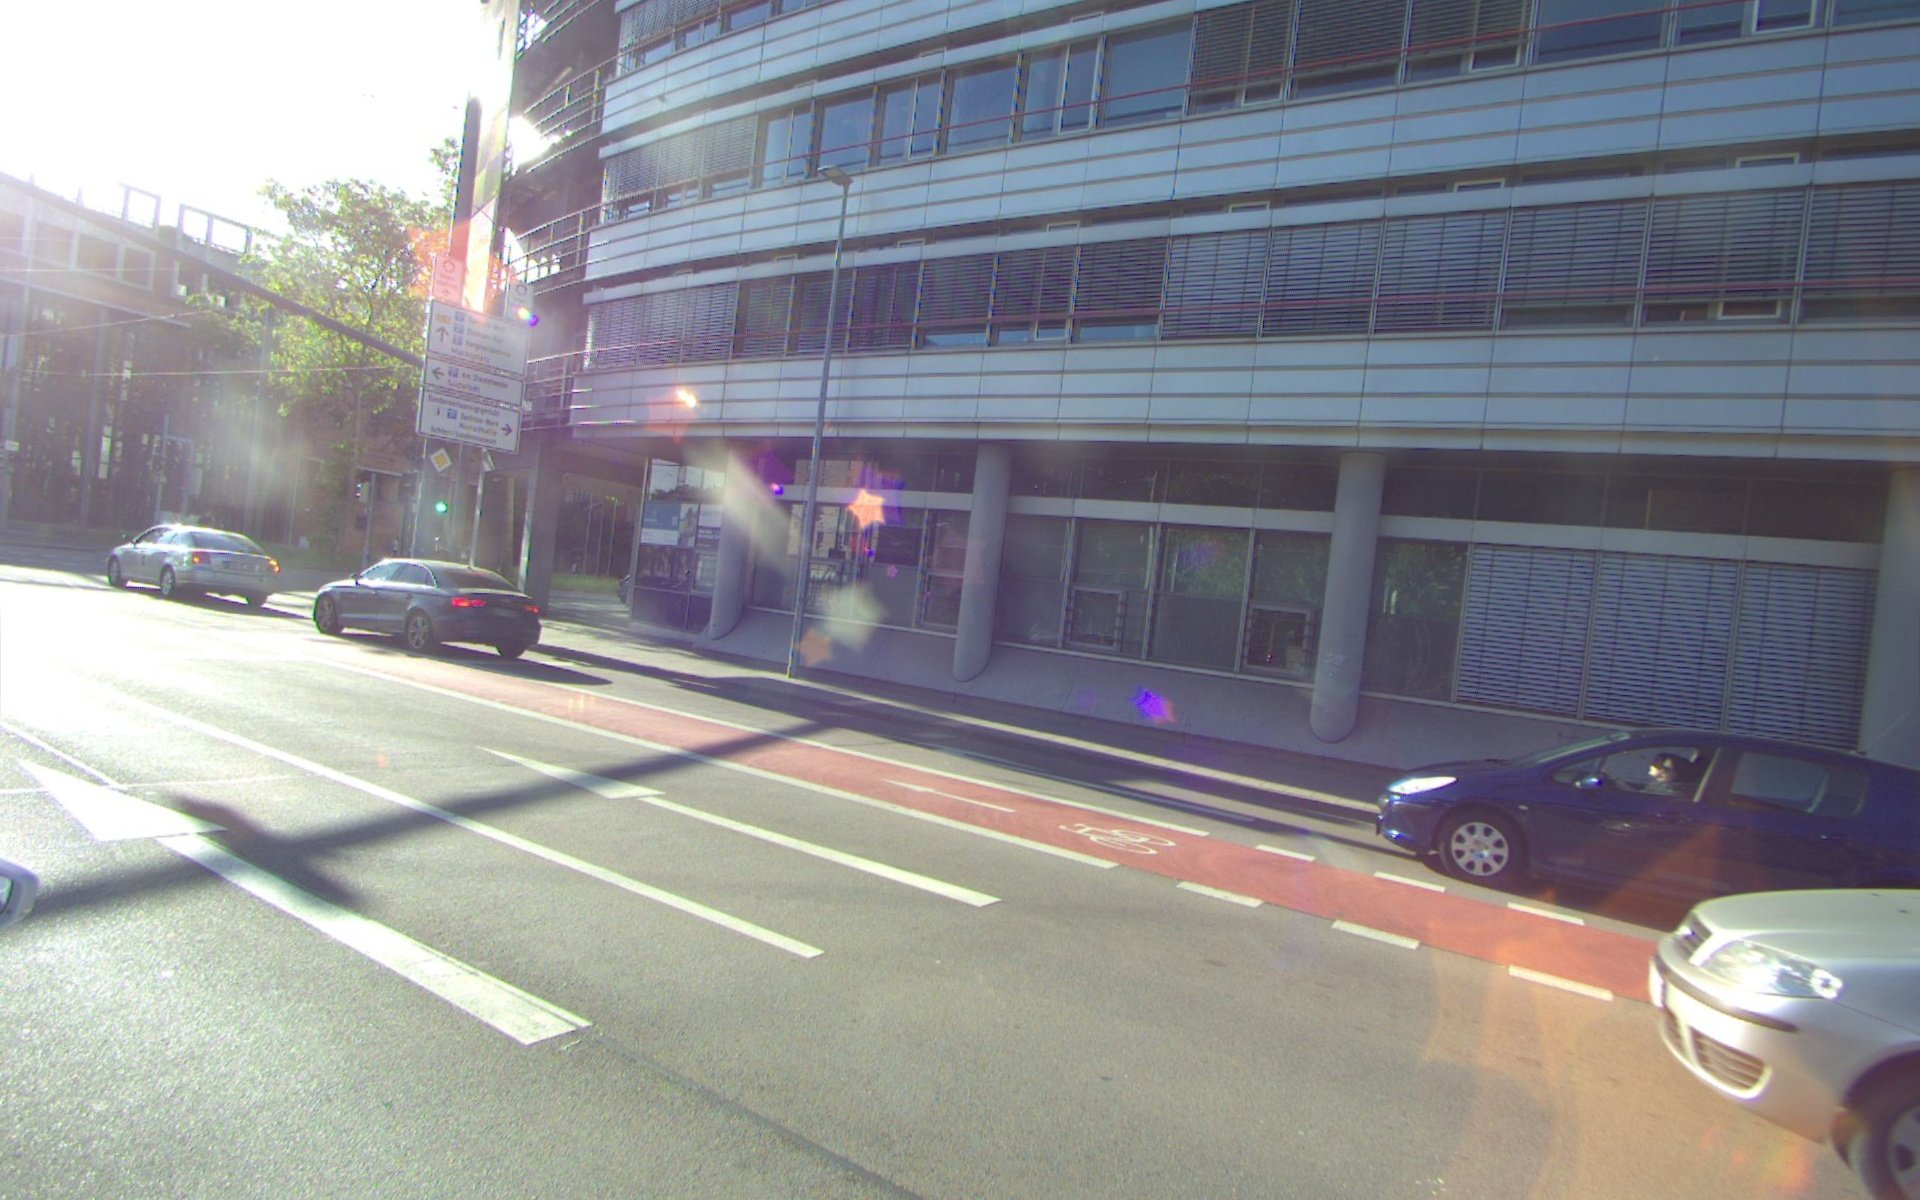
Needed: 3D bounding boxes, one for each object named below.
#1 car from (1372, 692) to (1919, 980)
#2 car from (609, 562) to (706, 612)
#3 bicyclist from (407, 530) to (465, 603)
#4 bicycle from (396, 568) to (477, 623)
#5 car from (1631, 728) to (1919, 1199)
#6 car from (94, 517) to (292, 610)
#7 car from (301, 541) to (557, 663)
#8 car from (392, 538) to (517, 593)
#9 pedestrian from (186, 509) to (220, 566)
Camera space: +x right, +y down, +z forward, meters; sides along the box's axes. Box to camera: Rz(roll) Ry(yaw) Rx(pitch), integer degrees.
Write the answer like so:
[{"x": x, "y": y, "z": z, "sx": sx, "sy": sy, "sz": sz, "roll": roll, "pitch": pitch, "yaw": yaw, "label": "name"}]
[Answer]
[{"x": 5.694, "y": 1.764, "z": 8.263, "sx": 3.934, "sy": 1.462, "sz": 1.734, "roll": 6, "pitch": -2, "yaw": 32, "label": "car"}, {"x": -13.444, "y": -0.530, "z": 45.003, "sx": 1.832, "sy": 1.670, "sz": 4.000, "roll": 7, "pitch": -2, "yaw": 24, "label": "car"}, {"x": -12.409, "y": -0.793, "z": 23.827, "sx": 1.025, "sy": 1.586, "sz": 0.625, "roll": 7, "pitch": 1, "yaw": 28, "label": "bicyclist"}, {"x": -12.402, "y": -0.109, "z": 23.814, "sx": 2.168, "sy": 1.045, "sz": 0.499, "roll": 7, "pitch": 0, "yaw": 28, "label": "bicycle"}, {"x": 4.451, "y": 1.429, "z": 3.162, "sx": 3.705, "sy": 1.446, "sz": 1.619, "roll": 6, "pitch": -2, "yaw": 32, "label": "car"}, {"x": -16.233, "y": -0.793, "z": 21.244, "sx": 4.414, "sy": 1.448, "sz": 1.753, "roll": 7, "pitch": 0, "yaw": 31, "label": "car"}, {"x": -8.690, "y": 0.017, "z": 16.390, "sx": 4.041, "sy": 1.458, "sz": 1.713, "roll": 7, "pitch": -1, "yaw": 30, "label": "car"}, {"x": -20.149, "y": -1.339, "z": 40.316, "sx": 1.662, "sy": 1.648, "sz": 4.463, "roll": 7, "pitch": -1, "yaw": 20, "label": "car"}, {"x": -24.744, "y": -2.033, "z": 32.896, "sx": 0.701, "sy": 1.781, "sz": 0.556, "roll": 6, "pitch": 1, "yaw": -33, "label": "pedestrian"}]
